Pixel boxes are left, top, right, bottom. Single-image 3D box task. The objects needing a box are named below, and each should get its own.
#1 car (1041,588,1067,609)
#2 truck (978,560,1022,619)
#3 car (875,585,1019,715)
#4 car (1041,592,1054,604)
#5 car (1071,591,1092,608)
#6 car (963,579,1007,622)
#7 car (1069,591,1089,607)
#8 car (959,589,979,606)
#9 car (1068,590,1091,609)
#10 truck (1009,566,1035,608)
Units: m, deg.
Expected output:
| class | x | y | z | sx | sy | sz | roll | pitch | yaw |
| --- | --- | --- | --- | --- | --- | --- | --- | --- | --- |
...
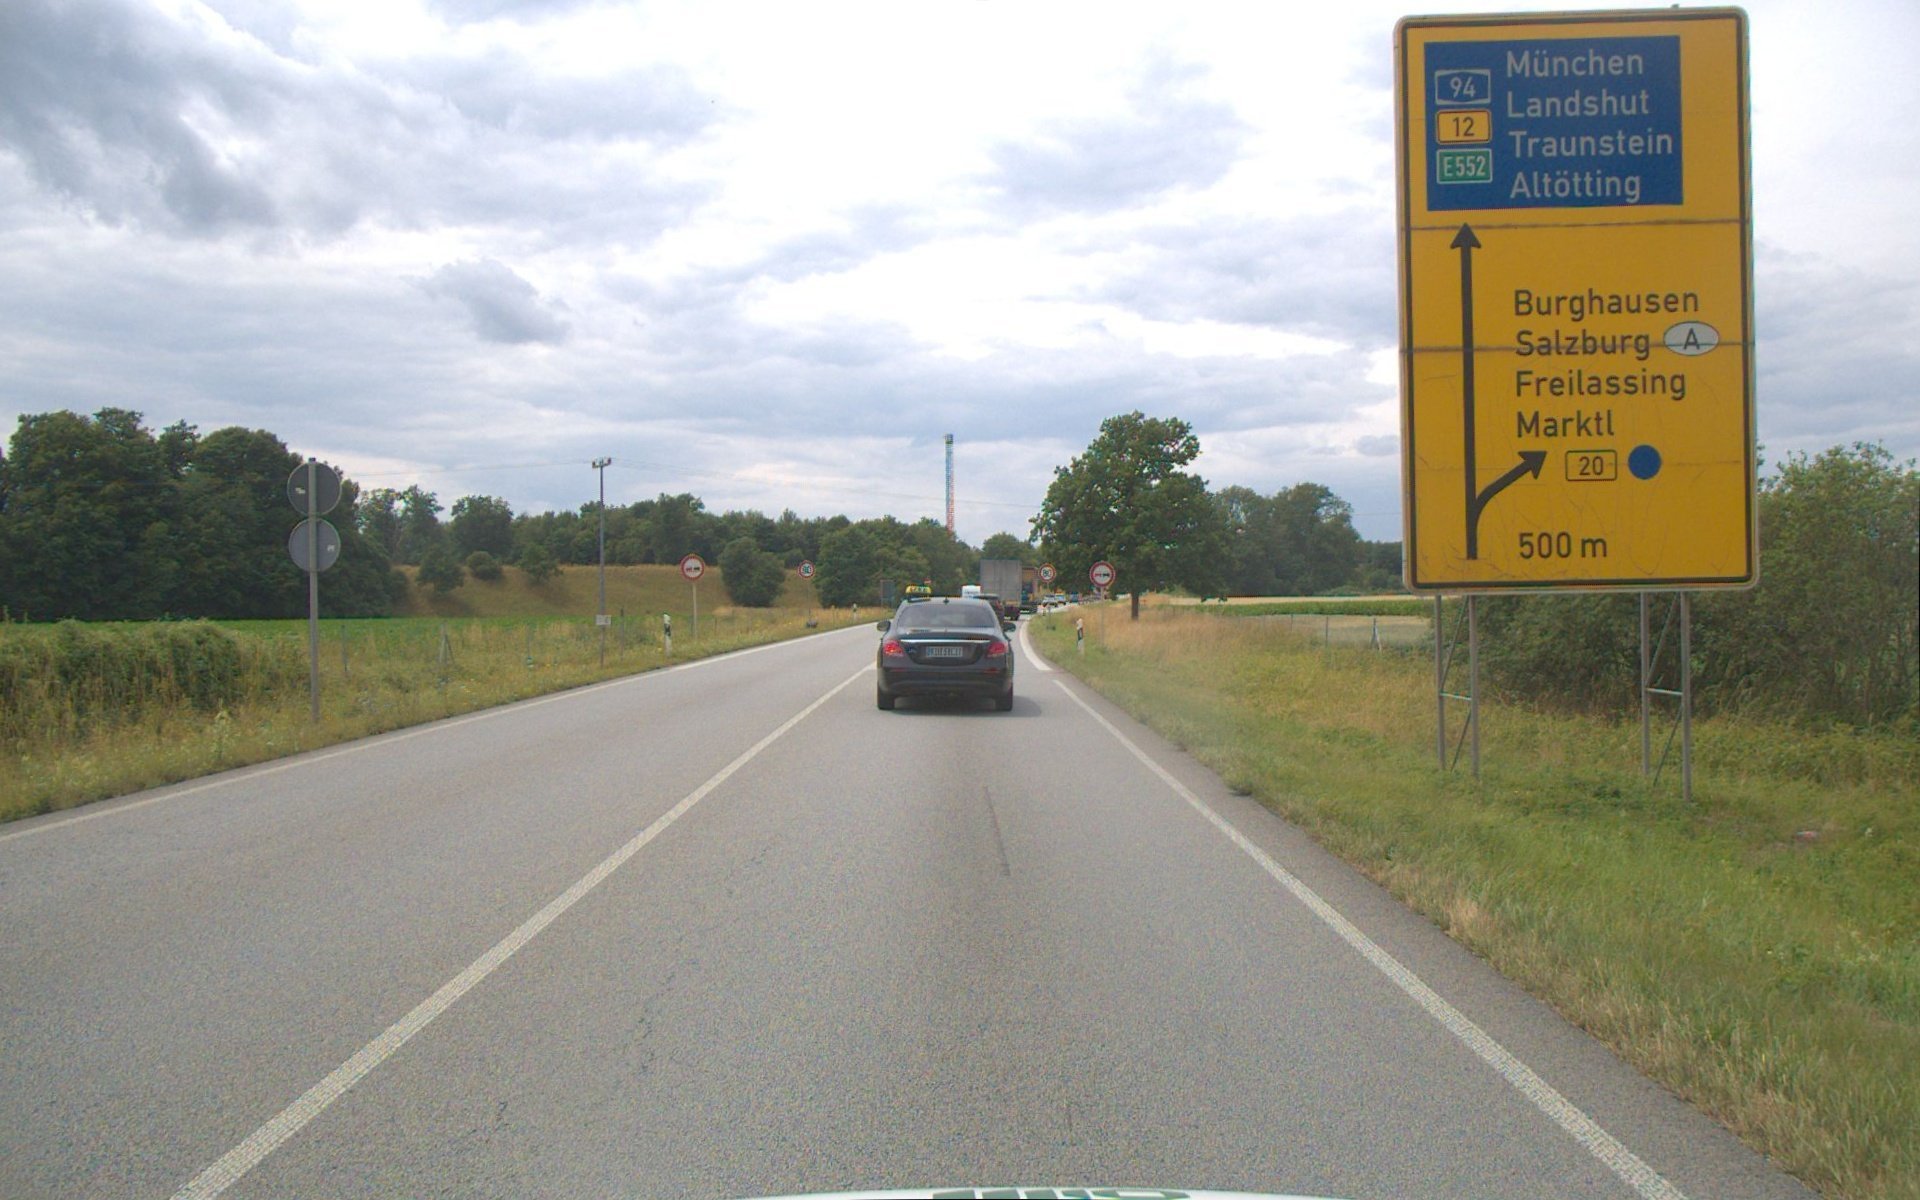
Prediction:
| class | x | y | z | sx | sy | sz | roll | pitch | yaw |
| --- | --- | --- | --- | --- | --- | --- | --- | --- | --- |
| car | 7.747 | -0.112 | 136.707 | 1.759 | 1.691 | 3.999 | 1 | 0 | -1 |
| truck | 2.610 | -0.641 | 105.993 | 2.533 | 3.586 | 4.814 | 1 | 0 | 3 |
| car | -0.209 | 0.634 | 22.662 | 1.759 | 1.587 | 3.999 | 1 | 0 | -1 |
| car | 11.388 | -0.240 | 214.622 | 1.614 | 1.420 | 3.707 | 1 | 0 | 3 |
| car | 12.522 | -0.055 | 171.212 | 1.759 | 1.691 | 3.999 | 1 | 0 | -1 |
| car | 1.214 | 0.033 | 81.245 | 1.953 | 2.049 | 3.999 | 1 | 0 | -1 |
| car | 13.306 | -0.085 | 185.012 | 1.759 | 1.691 | 3.999 | 1 | 0 | -1 |
| car | 1.003 | -0.264 | 176.121 | 1.964 | 1.686 | 4.328 | 1 | 0 | 2 |
| car | 11.248 | -0.037 | 156.261 | 1.759 | 1.691 | 3.999 | 1 | 0 | -1 |
| truck | 5.438 | -1.106 | 145.695 | 1.953 | 3.587 | 4.591 | 1 | 0 | -1 |
